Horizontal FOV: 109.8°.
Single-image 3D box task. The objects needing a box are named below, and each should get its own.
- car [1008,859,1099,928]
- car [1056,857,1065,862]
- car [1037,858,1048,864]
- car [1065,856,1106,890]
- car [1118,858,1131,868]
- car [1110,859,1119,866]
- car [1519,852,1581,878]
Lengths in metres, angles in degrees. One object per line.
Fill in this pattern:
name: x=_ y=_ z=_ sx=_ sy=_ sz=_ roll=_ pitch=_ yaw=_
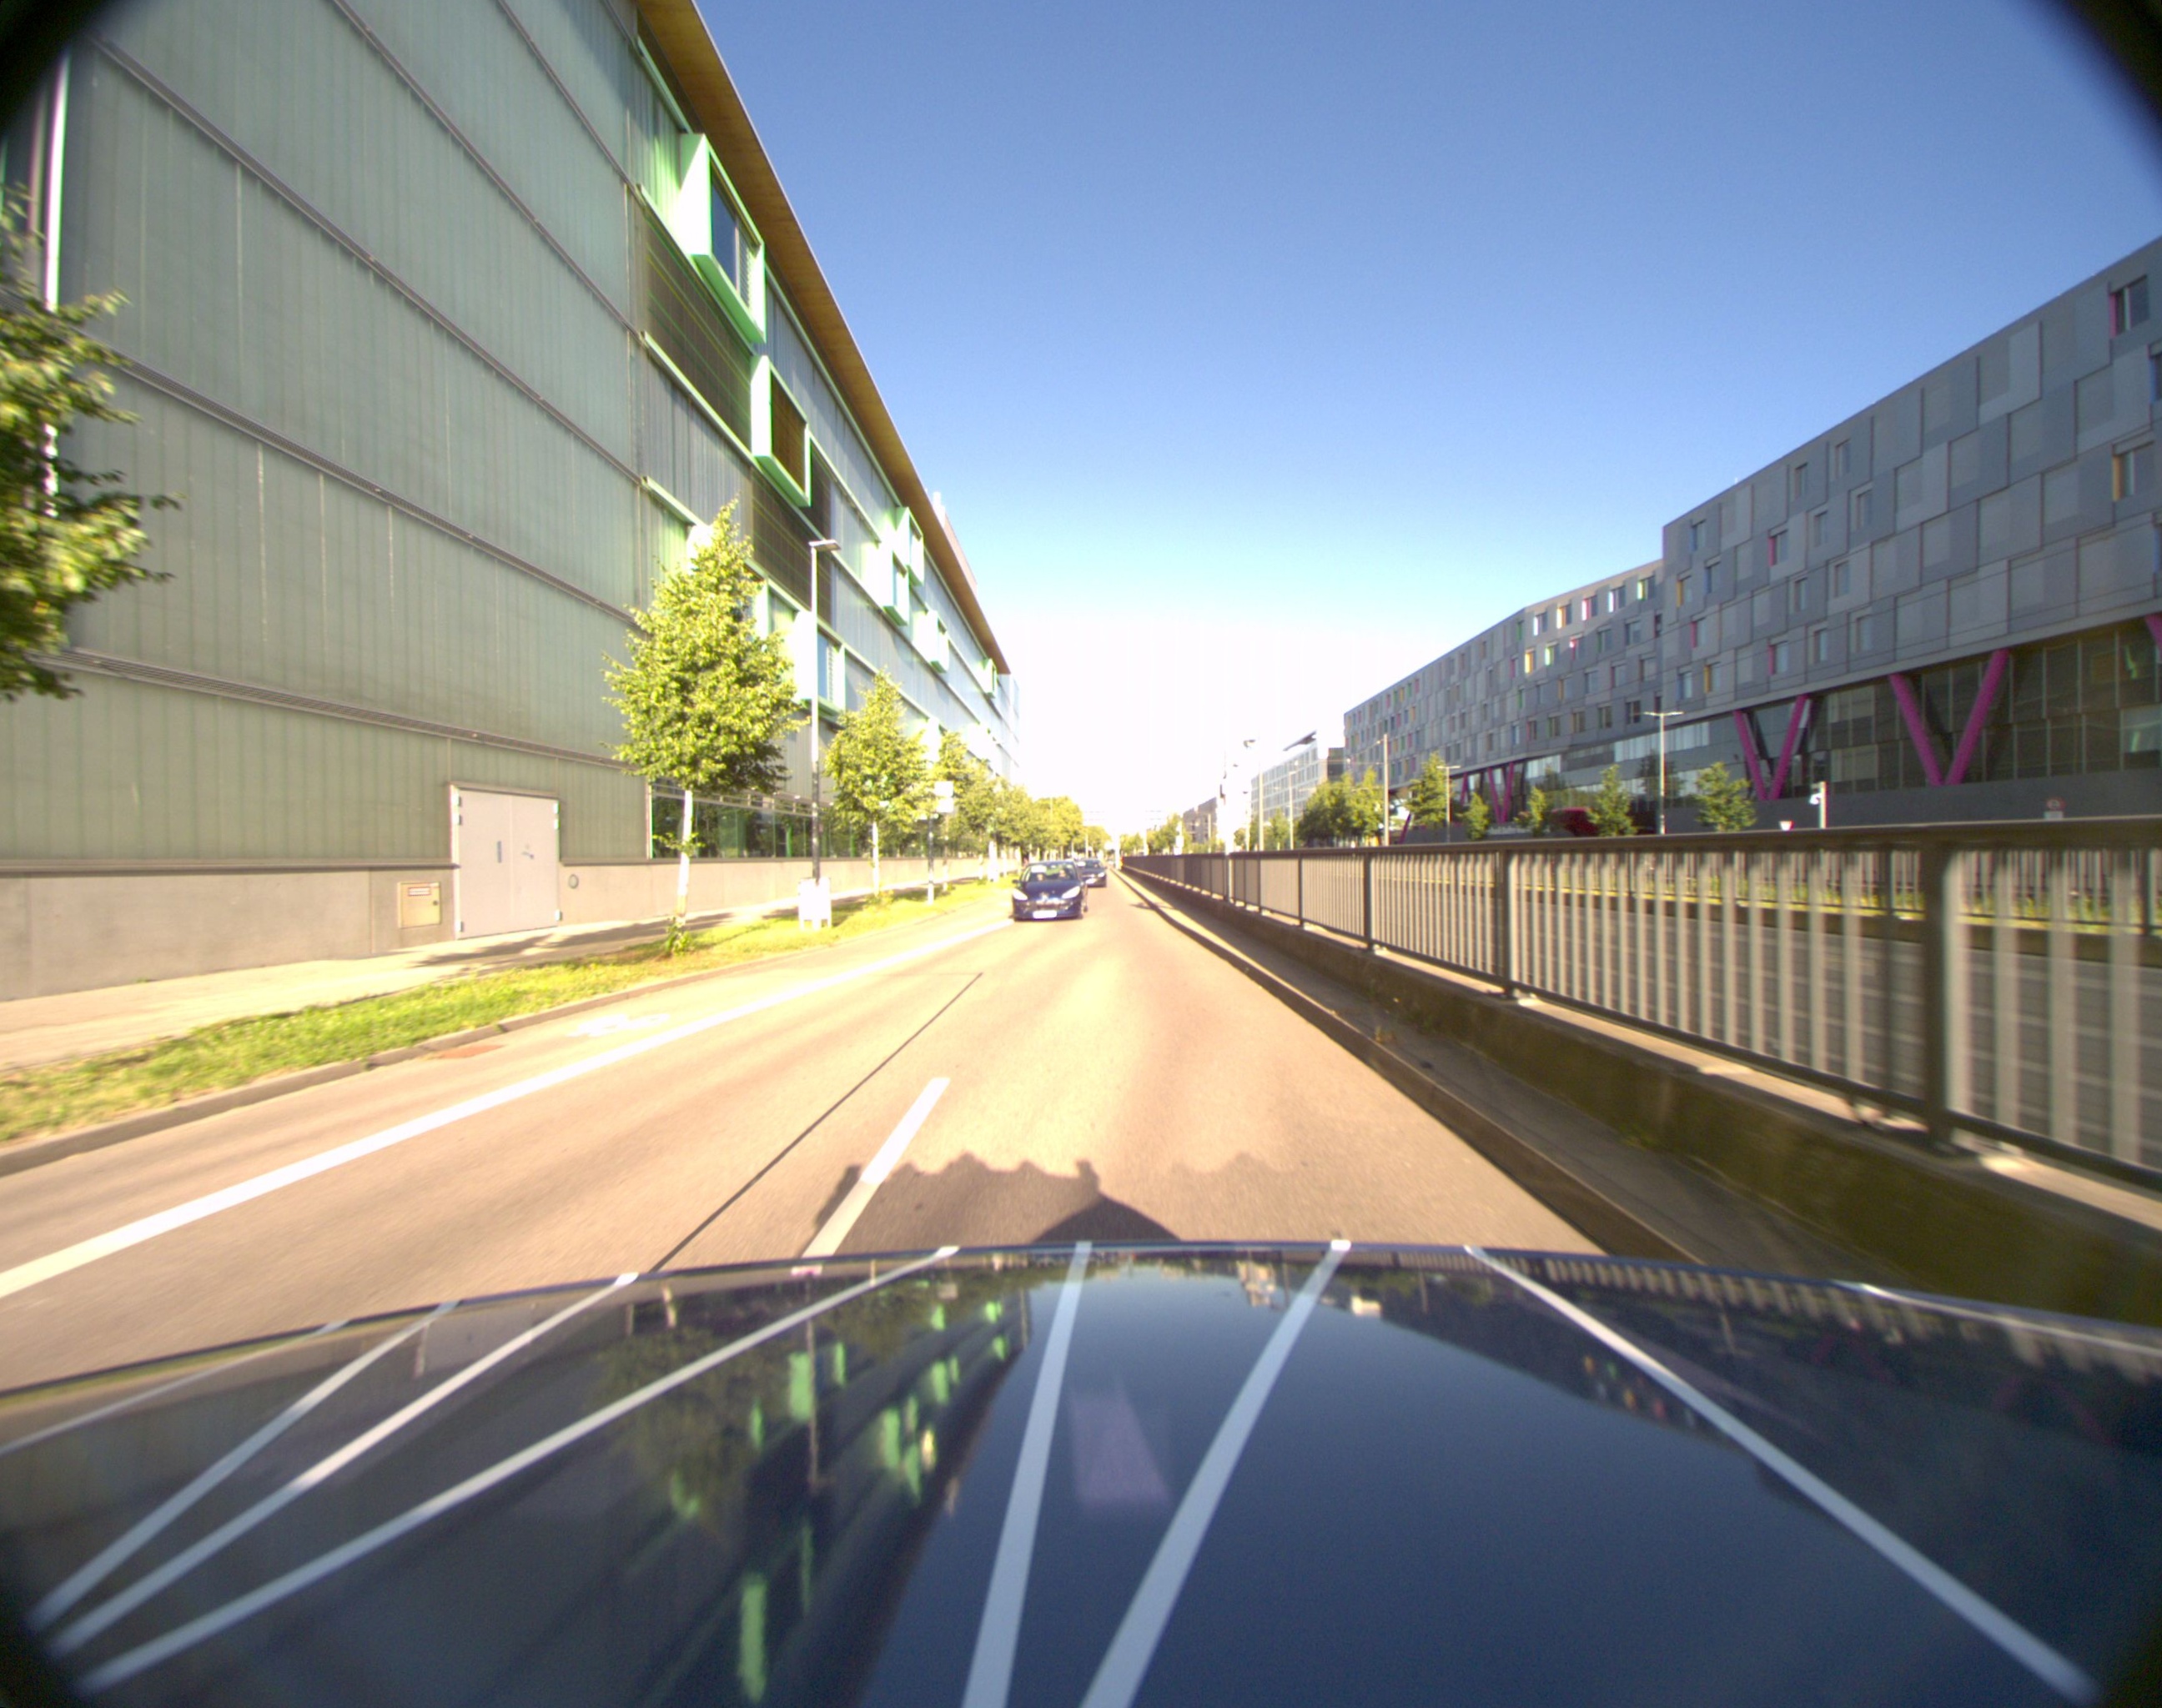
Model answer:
car: x=-0.610 y=0.946 z=20.240 sx=1.802 sy=1.518 sz=4.607 roll=-3 pitch=0 yaw=5
car: x=-5.667 y=1.464 z=211.093 sx=1.942 sy=1.372 sz=3.915 roll=-2 pitch=0 yaw=4
car: x=-8.997 y=1.610 z=177.789 sx=1.898 sy=1.456 sz=4.038 roll=-2 pitch=0 yaw=5
car: x=0.301 y=0.920 z=38.921 sx=1.802 sy=1.518 sz=4.606 roll=-3 pitch=0 yaw=3
car: x=6.681 y=1.425 z=118.029 sx=1.839 sy=1.483 sz=4.006 roll=-3 pitch=0 yaw=2
car: x=7.841 y=2.007 z=176.913 sx=1.998 sy=1.543 sz=4.001 roll=-4 pitch=0 yaw=2
car: x=33.143 y=0.748 z=53.806 sx=1.998 sy=1.828 sz=4.000 roll=0 pitch=0 yaw=1
